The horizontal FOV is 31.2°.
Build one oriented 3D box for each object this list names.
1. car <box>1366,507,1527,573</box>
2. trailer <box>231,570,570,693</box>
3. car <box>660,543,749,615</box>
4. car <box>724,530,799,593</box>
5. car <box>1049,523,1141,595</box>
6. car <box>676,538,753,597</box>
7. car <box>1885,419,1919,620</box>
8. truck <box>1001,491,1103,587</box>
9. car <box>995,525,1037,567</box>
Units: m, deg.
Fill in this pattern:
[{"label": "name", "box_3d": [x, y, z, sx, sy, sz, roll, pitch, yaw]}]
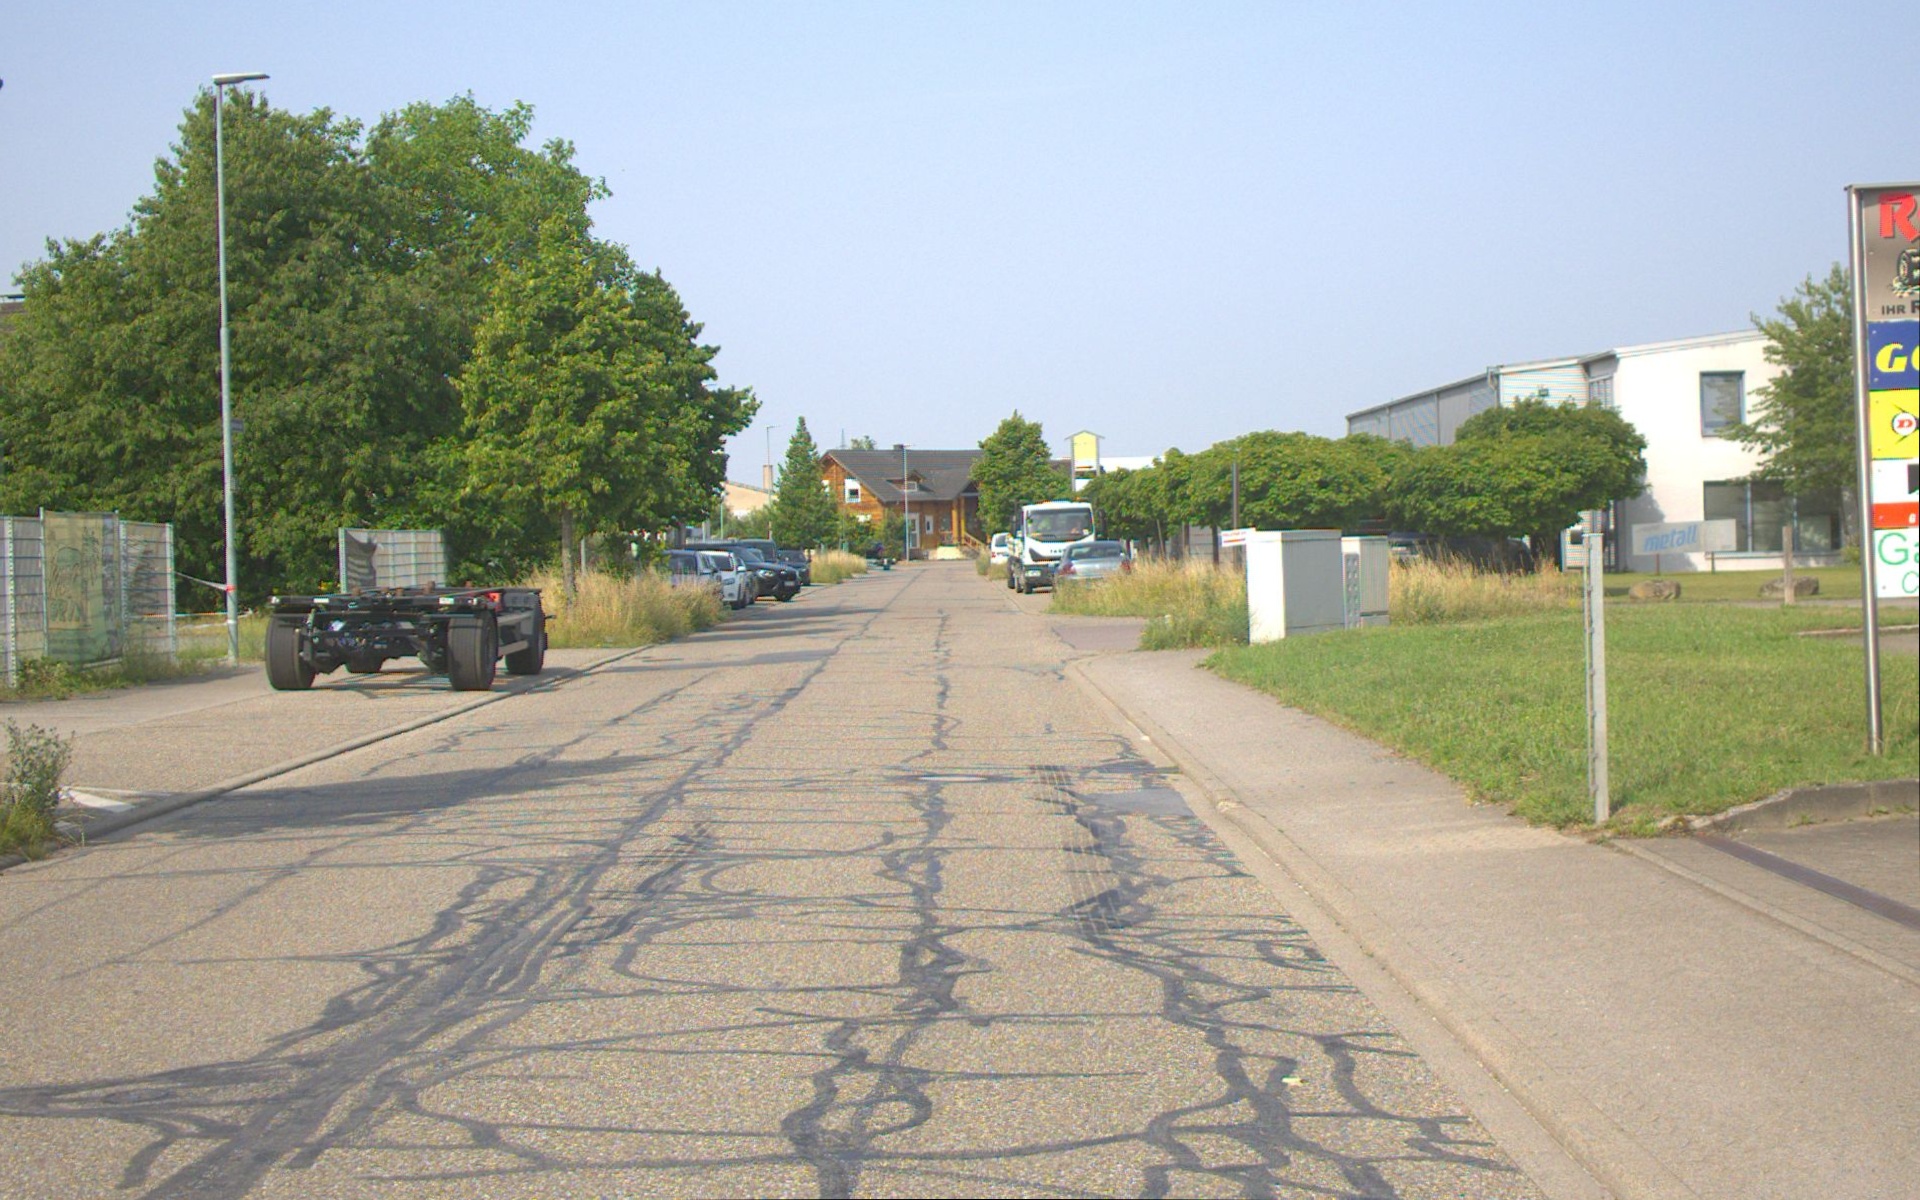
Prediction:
[{"label": "car", "box_3d": [12.668, -1.566, 89.367, 4.522, 1.583, 1.686, -3, 2, -44]}, {"label": "trailer", "box_3d": [-6.423, 0.293, 40.905, 2.582, 1.180, 9.364, 0, 1, 0]}, {"label": "car", "box_3d": [-5.826, -0.497, 78.702, 1.566, 1.533, 3.688, -2, 1, 3]}, {"label": "car", "box_3d": [-5.881, -1.159, 102.085, 1.856, 1.709, 4.226, -3, 1, 1]}, {"label": "car", "box_3d": [3.003, -0.947, 77.321, 1.794, 1.512, 4.424, -2, 1, 0]}, {"label": "car", "box_3d": [-6.248, -0.837, 87.864, 1.683, 1.464, 4.254, 0, 1, 0]}, {"label": "car", "box_3d": [13.851, -1.070, 44.661, 1.974, 2.696, 5.881, -1, 1, 0]}, {"label": "truck", "box_3d": [2.662, -1.793, 101.099, 2.359, 2.672, 6.512, -2, 1, -4]}, {"label": "car", "box_3d": [2.641, -2.582, 163.125, 1.837, 1.917, 3.756, -2, 1, 0]}]
